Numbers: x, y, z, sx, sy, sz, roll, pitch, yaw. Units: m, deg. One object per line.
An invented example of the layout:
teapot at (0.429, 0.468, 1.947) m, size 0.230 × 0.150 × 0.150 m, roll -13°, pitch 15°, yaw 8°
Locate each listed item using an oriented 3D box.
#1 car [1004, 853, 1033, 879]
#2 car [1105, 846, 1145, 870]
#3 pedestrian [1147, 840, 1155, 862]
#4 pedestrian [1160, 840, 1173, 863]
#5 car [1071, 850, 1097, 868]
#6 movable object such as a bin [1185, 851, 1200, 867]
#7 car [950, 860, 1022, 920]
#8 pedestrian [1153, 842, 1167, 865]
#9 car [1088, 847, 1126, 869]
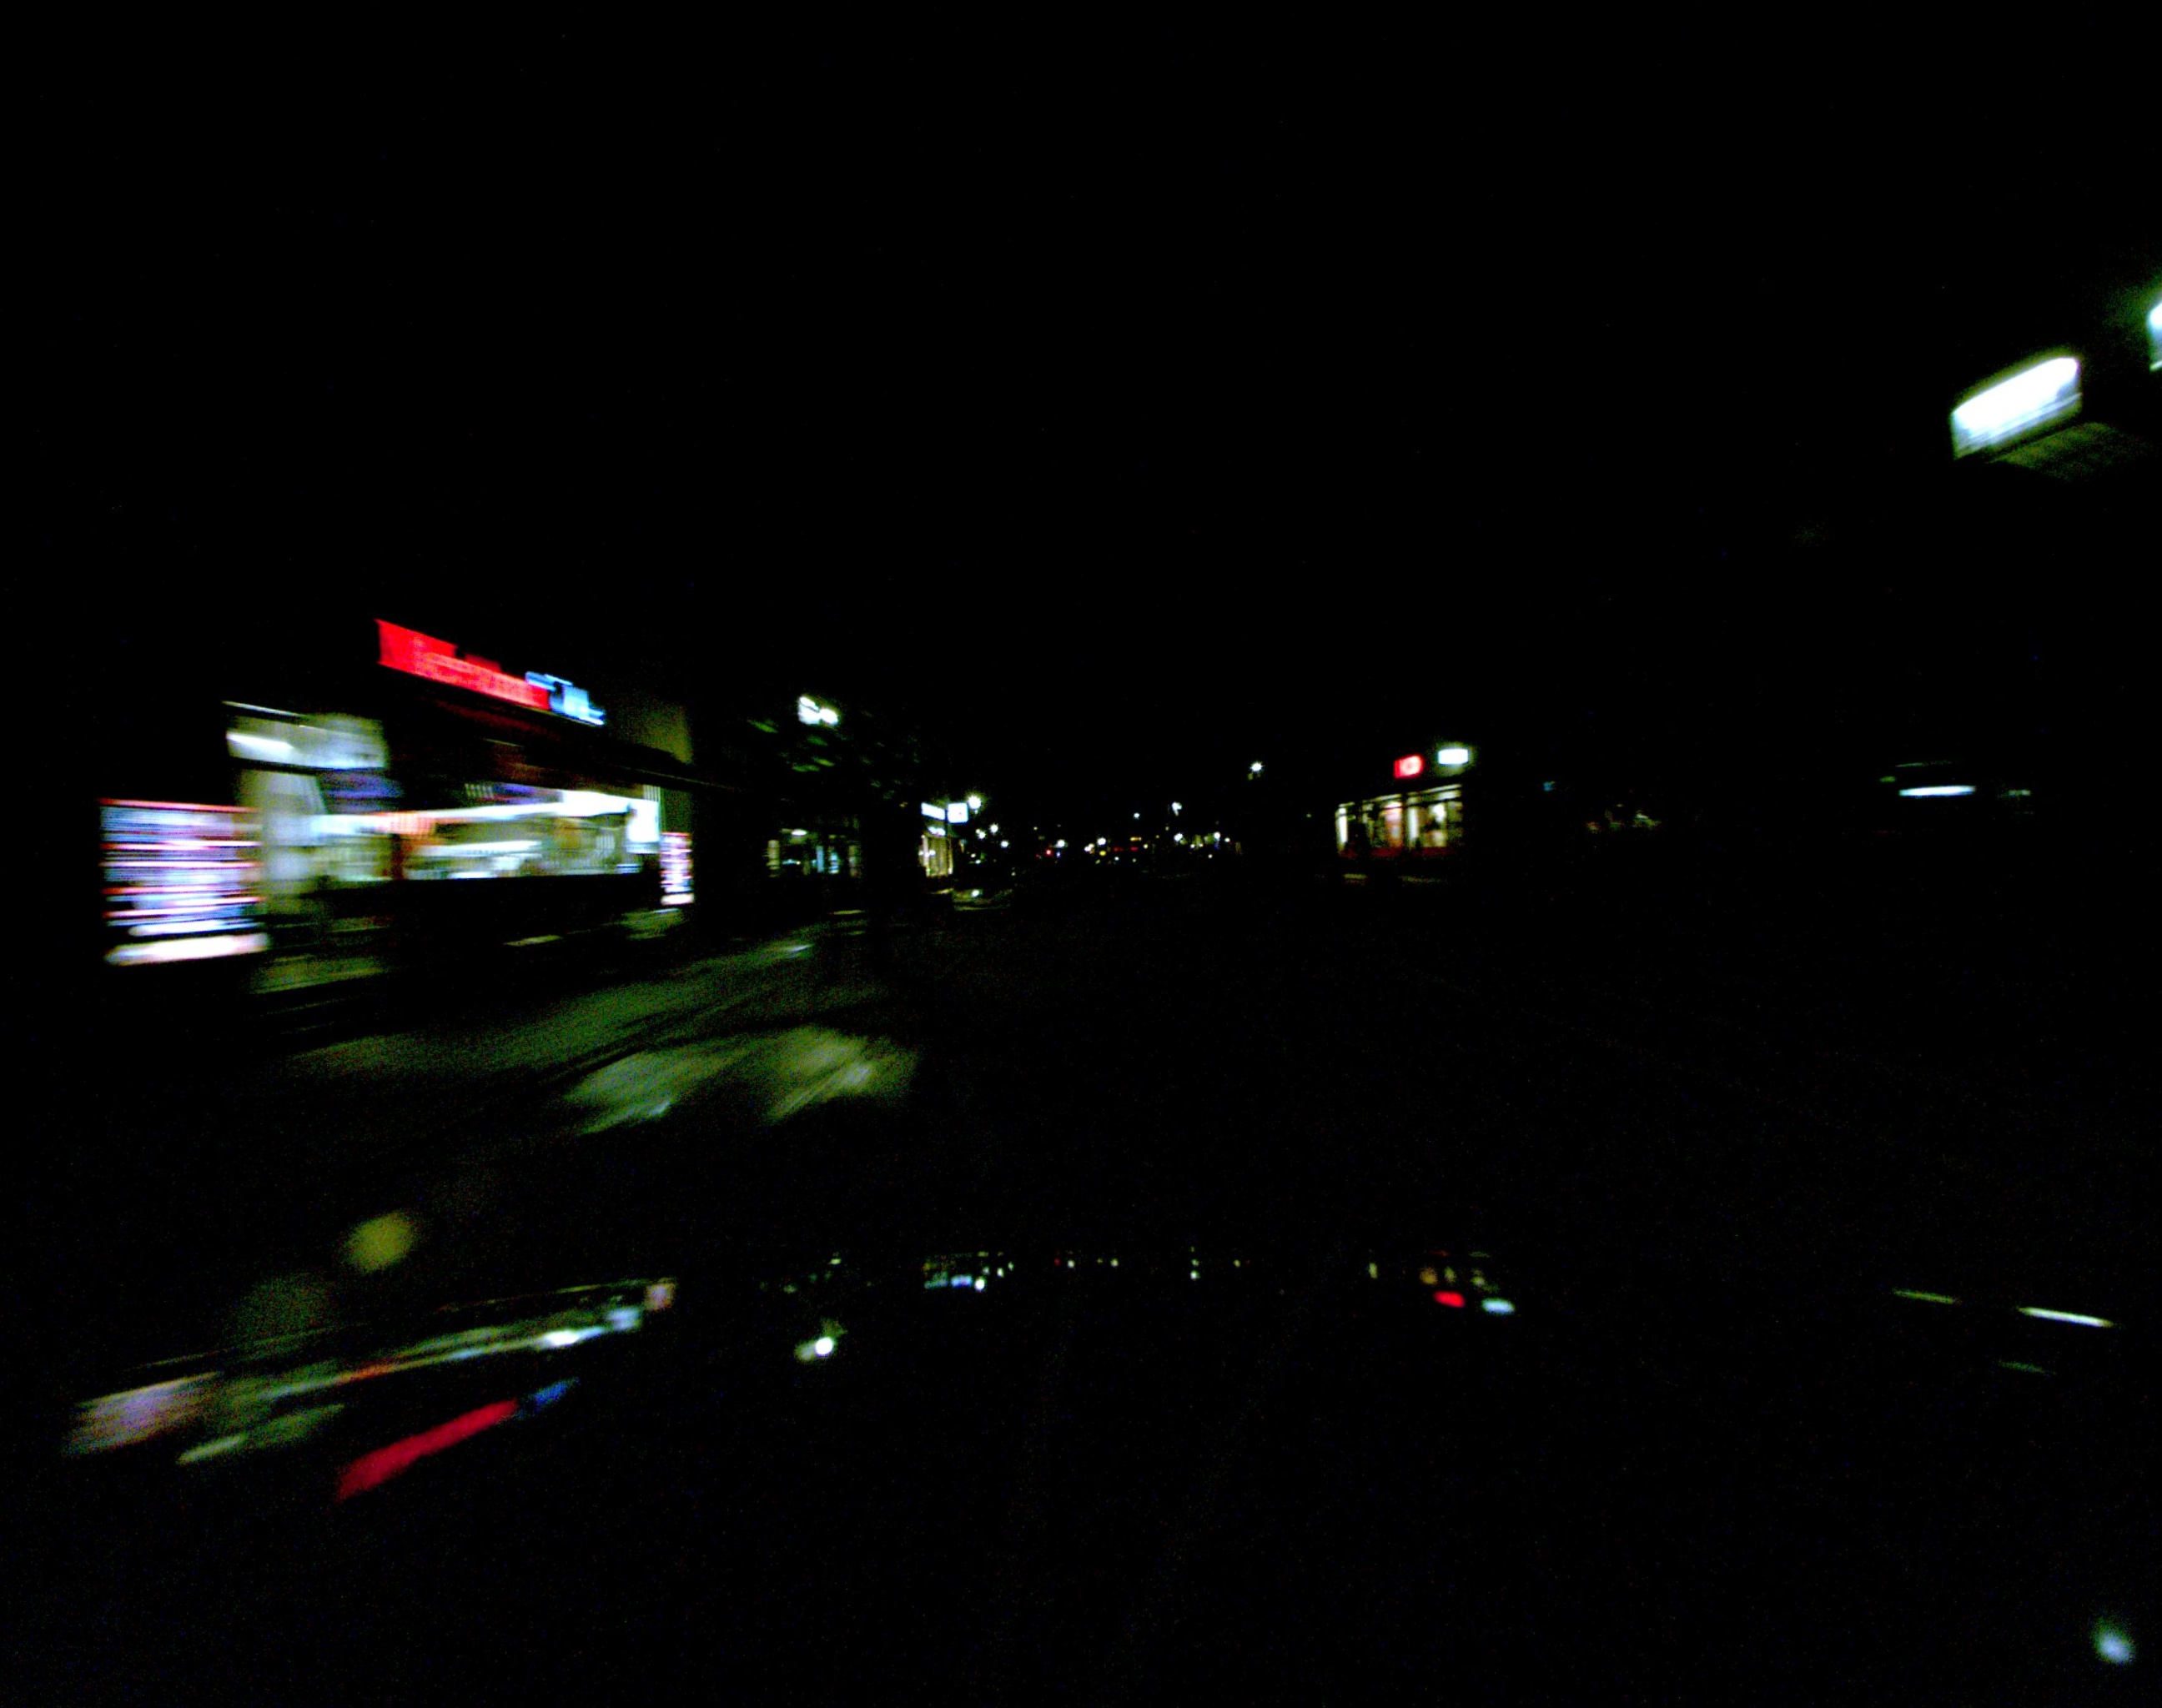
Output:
car at (-4.251, 0.770, 51.101) m, size 1.747 × 1.479 × 4.632 m, roll -2°, pitch 1°, yaw -7°
car at (3.115, 0.289, 55.368) m, size 1.764 × 1.628 × 4.810 m, roll -2°, pitch 0°, yaw -10°
pedestrian at (5.911, -0.271, 64.073) m, size 0.502 × 1.811 × 0.503 m, roll -2°, pitch 2°, yaw 12°
pedestrian at (7.156, -0.214, 63.493) m, size 0.793 × 1.807 × 1.024 m, roll -4°, pitch 1°, yaw 14°
car at (0.279, 0.463, 71.967) m, size 1.776 × 1.565 × 4.479 m, roll -4°, pitch 1°, yaw -8°
movable object such as a bin at (7.346, 0.334, 50.234) m, size 0.749 × 1.059 × 0.791 m, roll -2°, pitch 2°, yaw -9°
car at (-2.605, 0.947, 21.673) m, size 1.739 × 1.432 × 4.495 m, roll -2°, pitch 0°, yaw -4°
pedestrian at (6.636, -0.030, 63.986) m, size 0.879 × 1.821 × 0.791 m, roll -4°, pitch 1°, yaw 17°
car at (2.050, 0.325, 61.092) m, size 1.911 × 1.533 × 4.777 m, roll -4°, pitch 1°, yaw -12°
